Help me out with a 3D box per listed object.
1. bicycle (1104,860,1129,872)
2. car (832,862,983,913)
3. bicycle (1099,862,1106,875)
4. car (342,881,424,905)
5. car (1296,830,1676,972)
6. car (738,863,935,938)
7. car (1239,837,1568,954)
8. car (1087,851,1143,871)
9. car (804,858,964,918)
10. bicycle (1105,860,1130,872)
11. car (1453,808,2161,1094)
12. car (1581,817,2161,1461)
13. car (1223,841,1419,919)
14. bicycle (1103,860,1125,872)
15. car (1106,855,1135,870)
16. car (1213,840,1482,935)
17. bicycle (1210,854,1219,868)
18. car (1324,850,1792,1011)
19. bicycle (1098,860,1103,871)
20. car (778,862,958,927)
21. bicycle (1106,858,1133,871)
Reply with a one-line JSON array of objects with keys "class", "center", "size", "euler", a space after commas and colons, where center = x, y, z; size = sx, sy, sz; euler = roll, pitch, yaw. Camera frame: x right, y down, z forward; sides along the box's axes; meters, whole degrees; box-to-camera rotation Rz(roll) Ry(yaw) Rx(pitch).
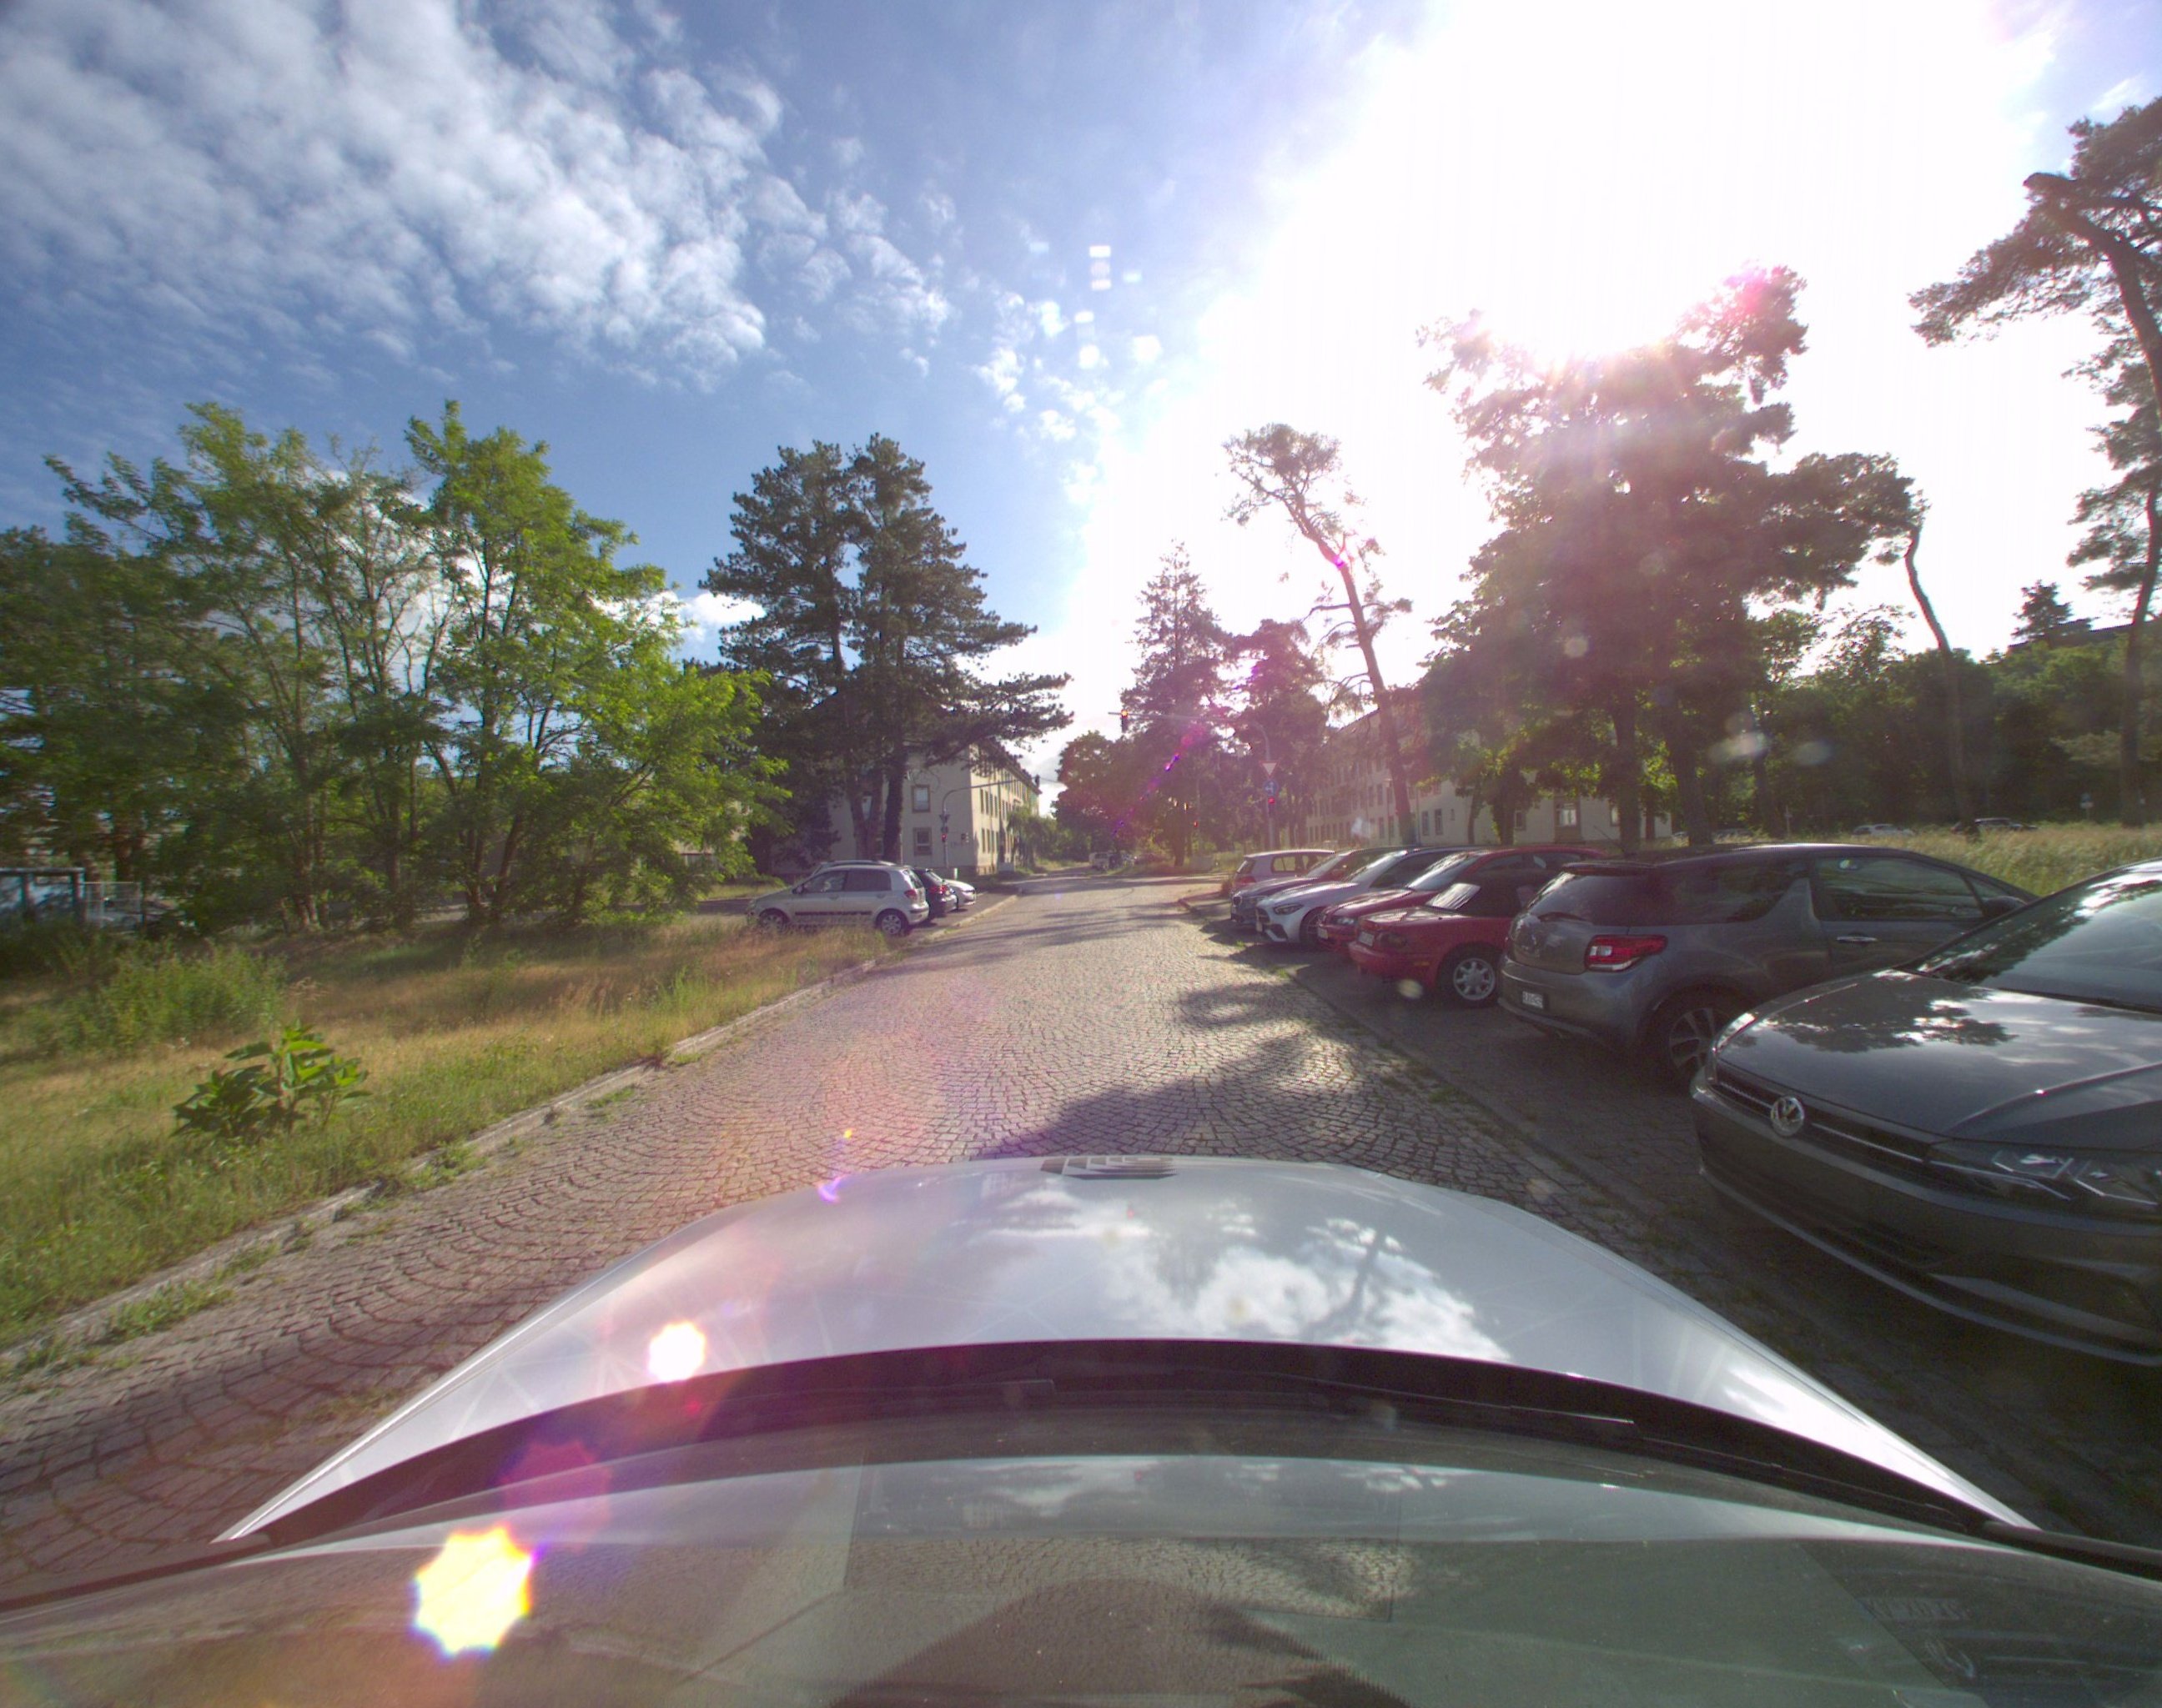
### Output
[{"class": "bicycle", "center": [3.029, 1.058, 69.821], "size": [2.025, 1.010, 0.626], "euler": [0, -1, -6]}, {"class": "car", "center": [-5.329, 1.011, 25.393], "size": [4.321, 1.468, 1.829], "euler": [0, 0, -2]}, {"class": "bicycle", "center": [1.691, 1.137, 63.716], "size": [0.466, 1.010, 1.585], "euler": [0, -1, -2]}, {"class": "car", "center": [-46.799, 2.583, 54.726], "size": [1.895, 1.433, 4.002], "euler": [-2, -1, 2]}, {"class": "car", "center": [5.121, 0.572, 10.700], "size": [4.112, 1.449, 1.637], "euler": [-4, 0, 2]}, {"class": "car", "center": [-5.168, 0.961, 17.550], "size": [3.736, 1.487, 1.645], "euler": [0, 0, -2]}, {"class": "car", "center": [4.871, 0.602, 12.791], "size": [4.415, 1.415, 1.782], "euler": [-4, 0, 2]}, {"class": "car", "center": [3.543, 0.746, 85.189], "size": [5.534, 2.014, 1.989], "euler": [0, -1, -17]}, {"class": "car", "center": [-5.501, 0.927, 23.149], "size": [4.069, 1.593, 1.884], "euler": [0, 0, -2]}, {"class": "bicycle", "center": [3.076, 1.047, 68.937], "size": [2.002, 1.010, 0.630], "euler": [0, -1, -6]}, {"class": "car", "center": [4.891, 0.564, 5.703], "size": [3.694, 1.449, 1.817], "euler": [-4, 0, 1]}, {"class": "car", "center": [4.197, 0.612, 2.847], "size": [3.693, 1.449, 1.857], "euler": [-4, 0, 2]}, {"class": "car", "center": [5.283, 0.559, 18.281], "size": [3.867, 1.415, 1.637], "euler": [-4, 0, 2]}, {"class": "bicycle", "center": [2.879, 1.070, 70.698], "size": [1.835, 1.010, 0.634], "euler": [0, -1, -6]}, {"class": "car", "center": [3.957, 0.853, 81.690], "size": [2.775, 1.467, 1.669], "euler": [0, -1, -3]}, {"class": "car", "center": [4.936, 0.596, 15.508], "size": [4.542, 1.415, 1.637], "euler": [-4, 0, 2]}, {"class": "bicycle", "center": [9.039, 0.478, 54.998], "size": [0.300, 0.961, 1.585], "euler": [0, -1, -2]}, {"class": "car", "center": [4.603, 0.703, 8.311], "size": [3.693, 1.223, 1.747], "euler": [-4, 0, 2]}, {"class": "bicycle", "center": [1.848, 1.116, 76.908], "size": [0.415, 1.010, 1.484], "euler": [0, -1, 2]}, {"class": "car", "center": [-5.161, 0.974, 20.179], "size": [3.976, 1.480, 1.802], "euler": [0, 0, -2]}, {"class": "bicycle", "center": [3.188, 0.851, 67.224], "size": [2.106, 1.010, 0.619], "euler": [0, -1, -6]}]
